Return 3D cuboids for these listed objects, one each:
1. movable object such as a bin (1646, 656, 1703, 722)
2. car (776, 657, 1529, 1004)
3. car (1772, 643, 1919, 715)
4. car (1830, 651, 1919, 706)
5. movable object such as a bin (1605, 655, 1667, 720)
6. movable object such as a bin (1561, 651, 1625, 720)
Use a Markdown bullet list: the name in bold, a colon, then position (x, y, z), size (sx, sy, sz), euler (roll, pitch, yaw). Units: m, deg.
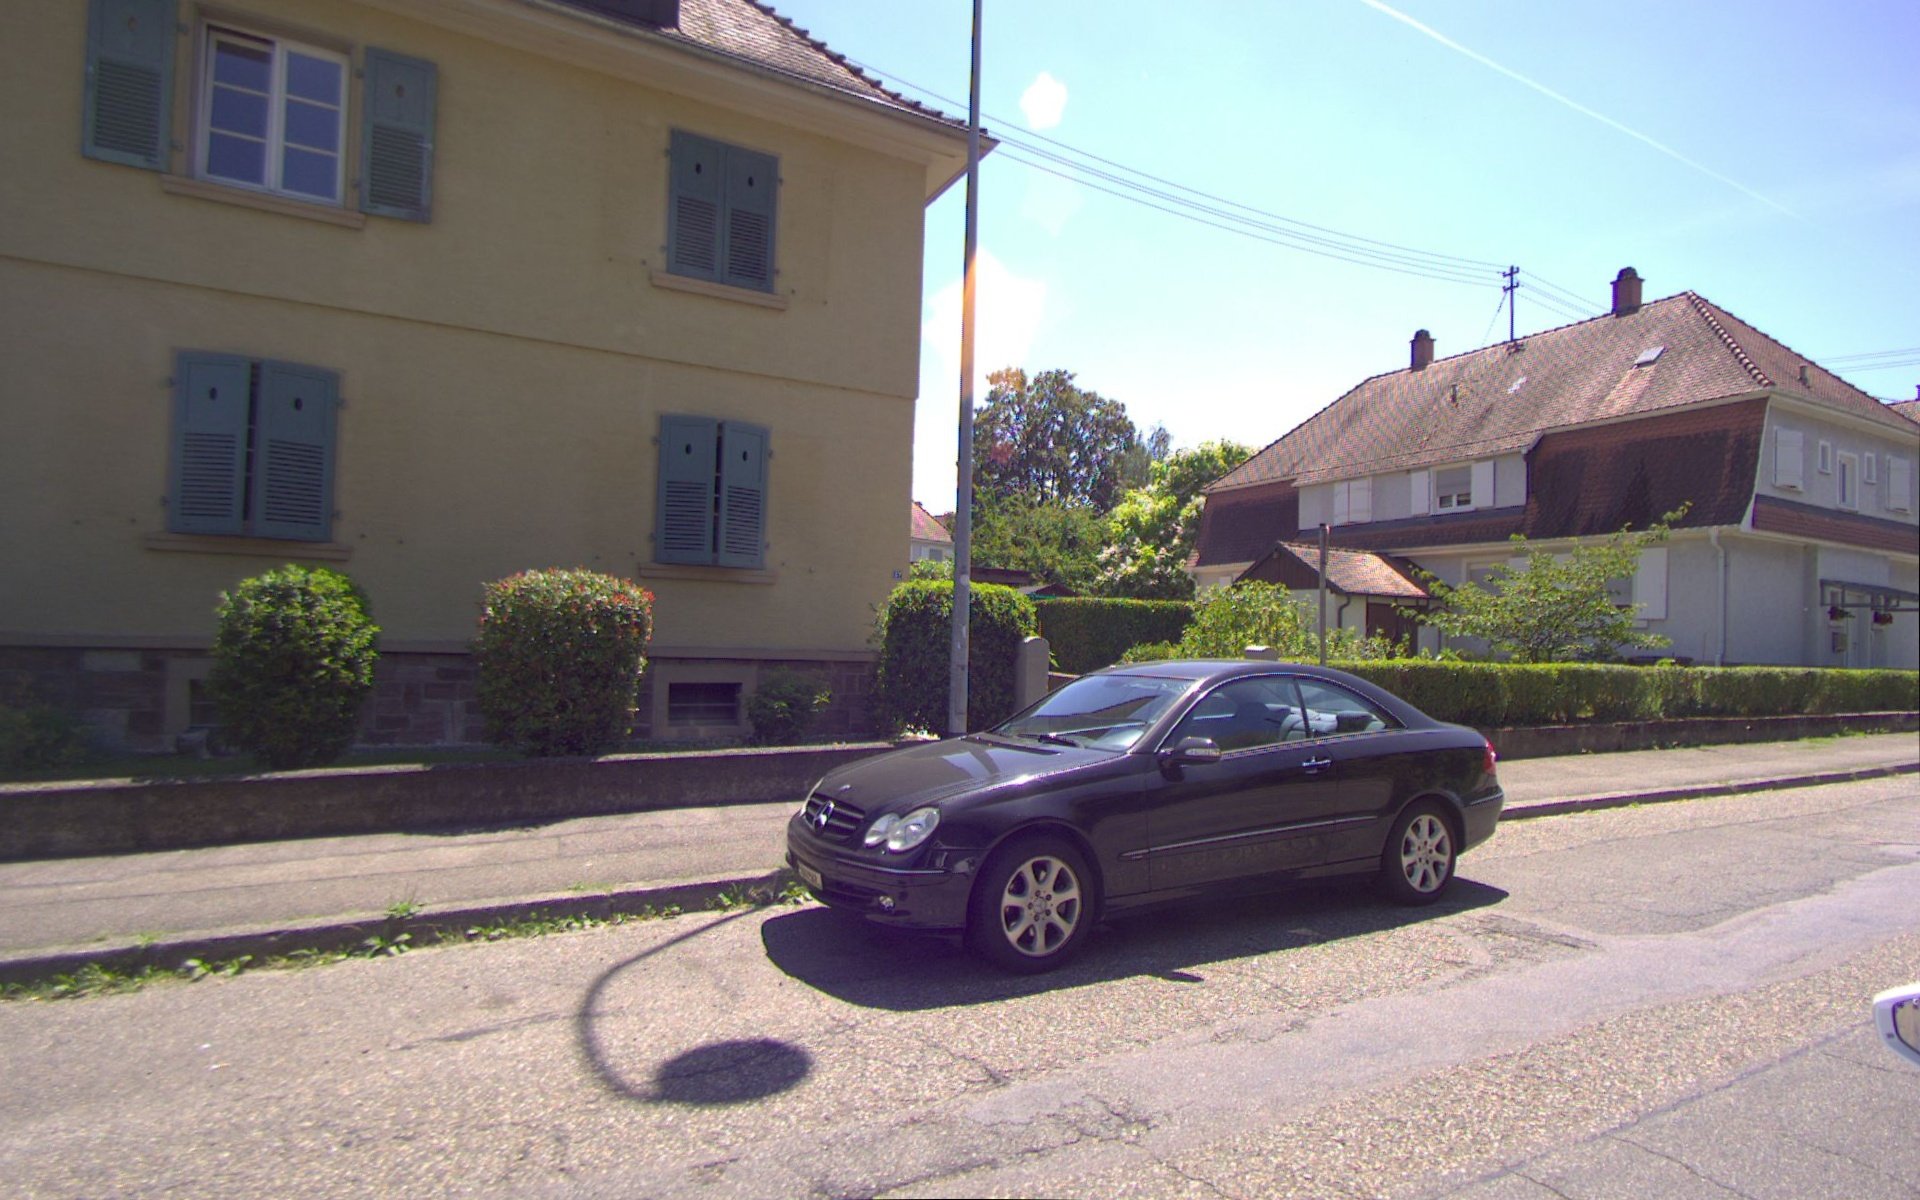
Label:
- **movable object such as a bin**: position (15.106, 1.878, 21.240), size (0.909, 1.339, 0.686), euler (2, -2, -30)
- **car**: position (1.262, 1.042, 5.915), size (4.328, 1.404, 1.659), euler (2, -4, -30)
- **car**: position (25.975, 2.207, 28.747), size (1.856, 1.930, 3.852), euler (2, -3, -28)
- **car**: position (30.388, 2.485, 31.835), size (1.856, 1.663, 3.852), euler (2, -3, -28)
- **movable object such as a bin**: position (14.766, 1.897, 21.941), size (0.909, 1.339, 0.815), euler (2, -2, -30)
- **movable object such as a bin**: position (14.280, 1.914, 22.674), size (0.997, 1.492, 0.873), euler (2, -2, -30)
